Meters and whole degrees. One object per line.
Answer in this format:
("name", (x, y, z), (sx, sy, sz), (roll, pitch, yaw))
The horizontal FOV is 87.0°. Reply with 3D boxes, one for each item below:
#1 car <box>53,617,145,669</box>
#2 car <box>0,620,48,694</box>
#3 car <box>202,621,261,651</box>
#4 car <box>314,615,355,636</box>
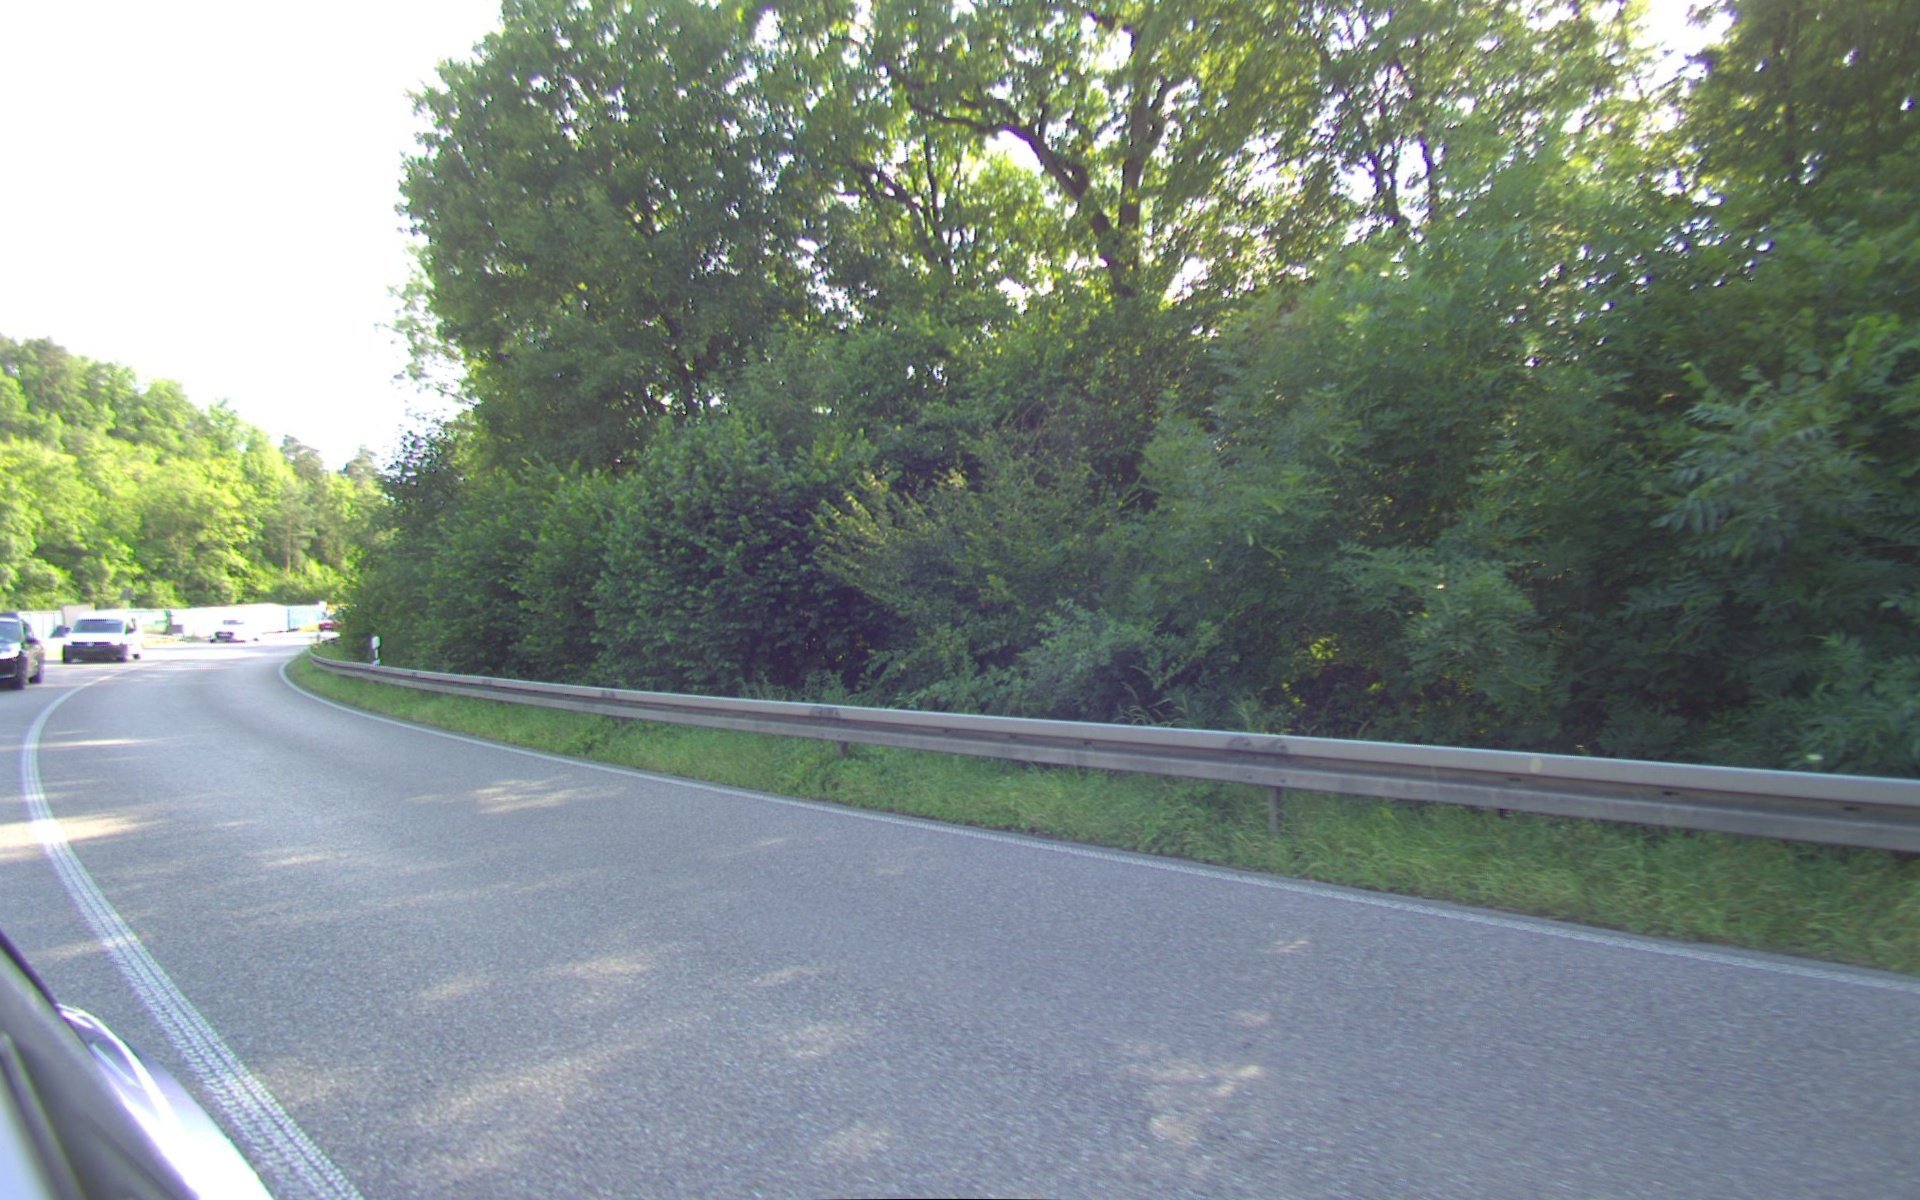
("car", (-31.549, 1.516, 37.228), (1.837, 1.733, 4.777), (0, 0, -31))
("car", (-22.704, 1.277, 23.426), (1.819, 1.581, 4.268), (0, 0, -35))
("car", (-42.622, 2.073, 59.310), (1.865, 1.456, 4.491), (-3, 1, -23))
("car", (-50.219, 2.030, 81.295), (1.829, 1.431, 4.433), (-3, 1, -19))
